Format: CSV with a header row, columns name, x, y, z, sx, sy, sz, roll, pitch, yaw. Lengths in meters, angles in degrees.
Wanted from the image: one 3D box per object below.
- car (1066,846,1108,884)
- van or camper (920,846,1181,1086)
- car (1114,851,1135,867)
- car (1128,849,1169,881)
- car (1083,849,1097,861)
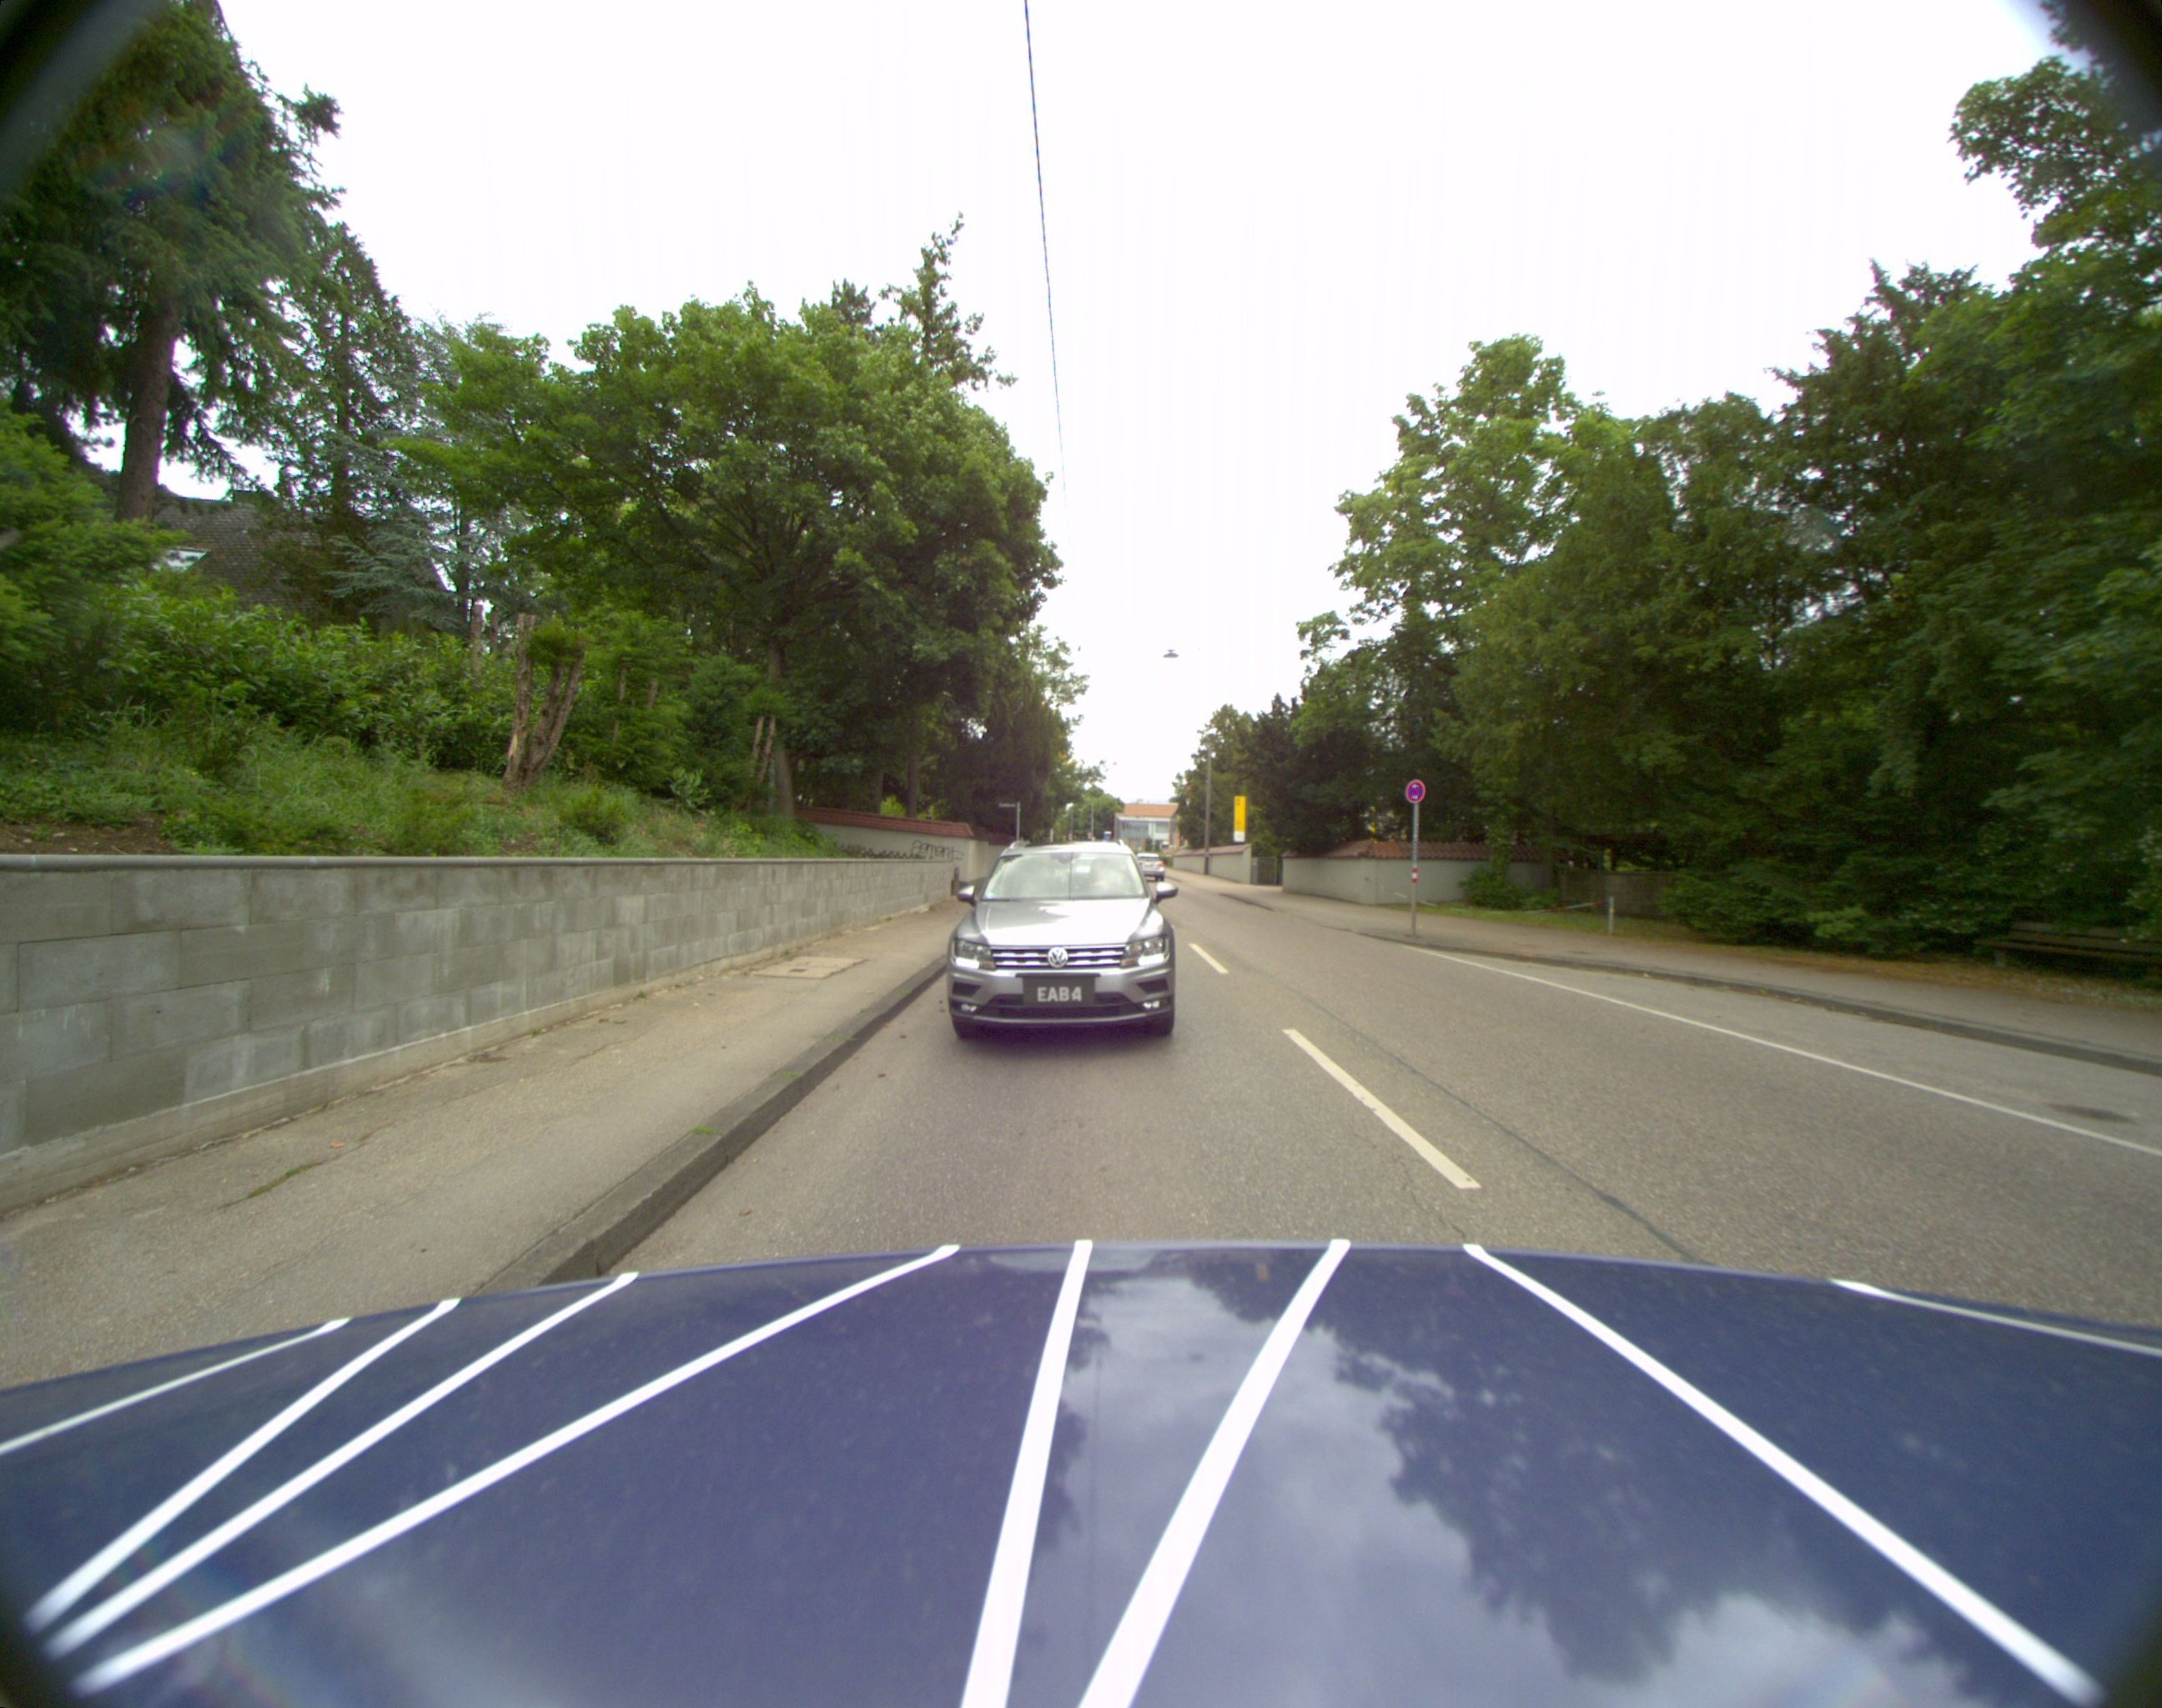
name,x,y,z,sx,sy,sz,roll,pitch,yaw
car,0.281,0.478,35.867,1.789,1.644,4.120,3,0,1
van or camper,-0.188,0.766,7.377,1.800,1.663,4.198,0,0,1
car,4.385,0.457,76.629,1.864,1.445,4.110,3,0,1
car,3.767,0.579,42.940,1.789,1.644,4.120,3,0,-1
car,1.252,0.167,108.057,1.864,1.648,4.305,-2,0,1
